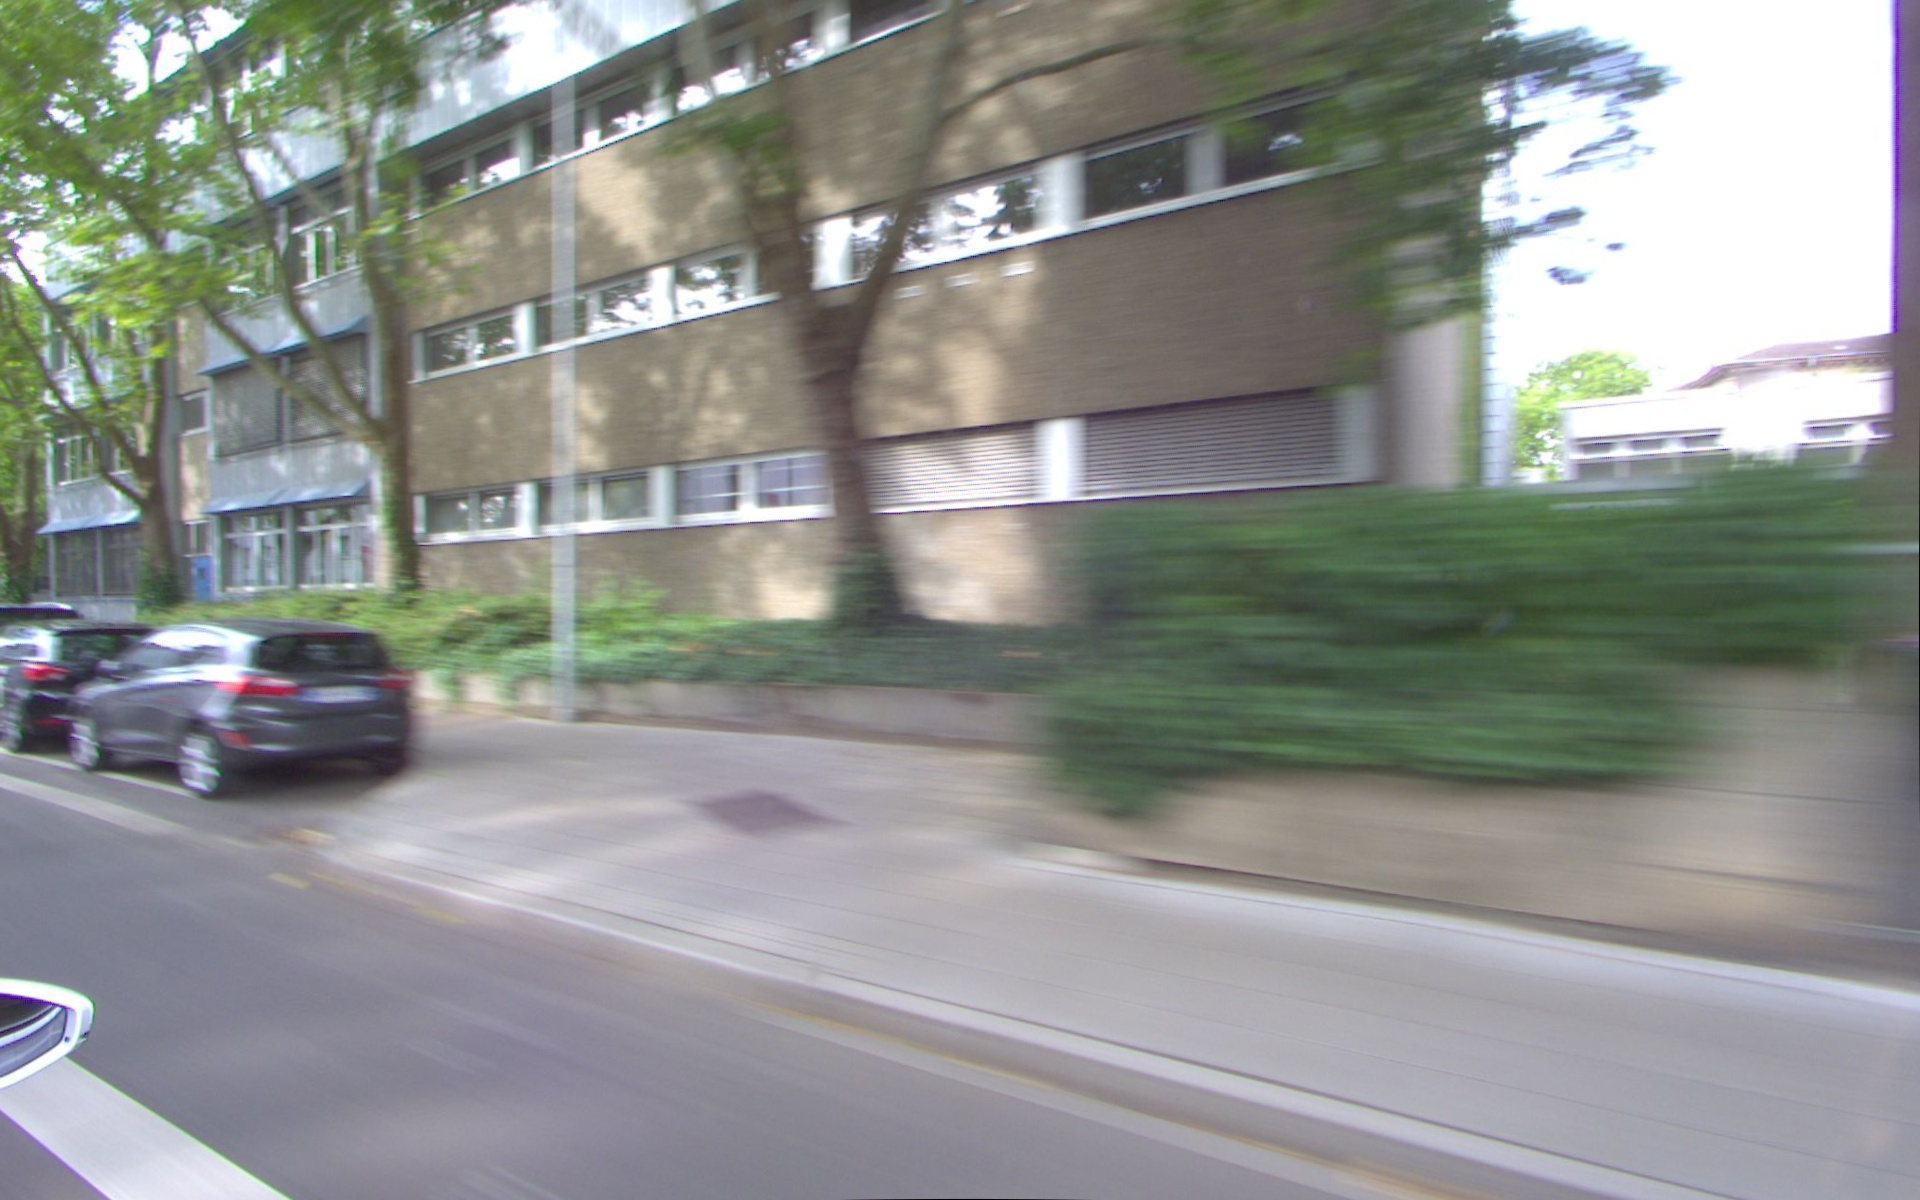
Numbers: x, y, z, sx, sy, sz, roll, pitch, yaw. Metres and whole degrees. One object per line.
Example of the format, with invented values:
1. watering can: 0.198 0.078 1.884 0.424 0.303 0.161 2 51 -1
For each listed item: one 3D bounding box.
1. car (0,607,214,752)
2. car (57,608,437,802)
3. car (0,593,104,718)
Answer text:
1. car: -10.926 0.845 12.218 3.889 1.441 1.654 1 1 32
2. car: -6.881 0.837 9.582 3.810 1.441 1.654 1 1 32
3. car: -14.829 0.743 15.077 4.354 1.673 1.655 1 1 31
